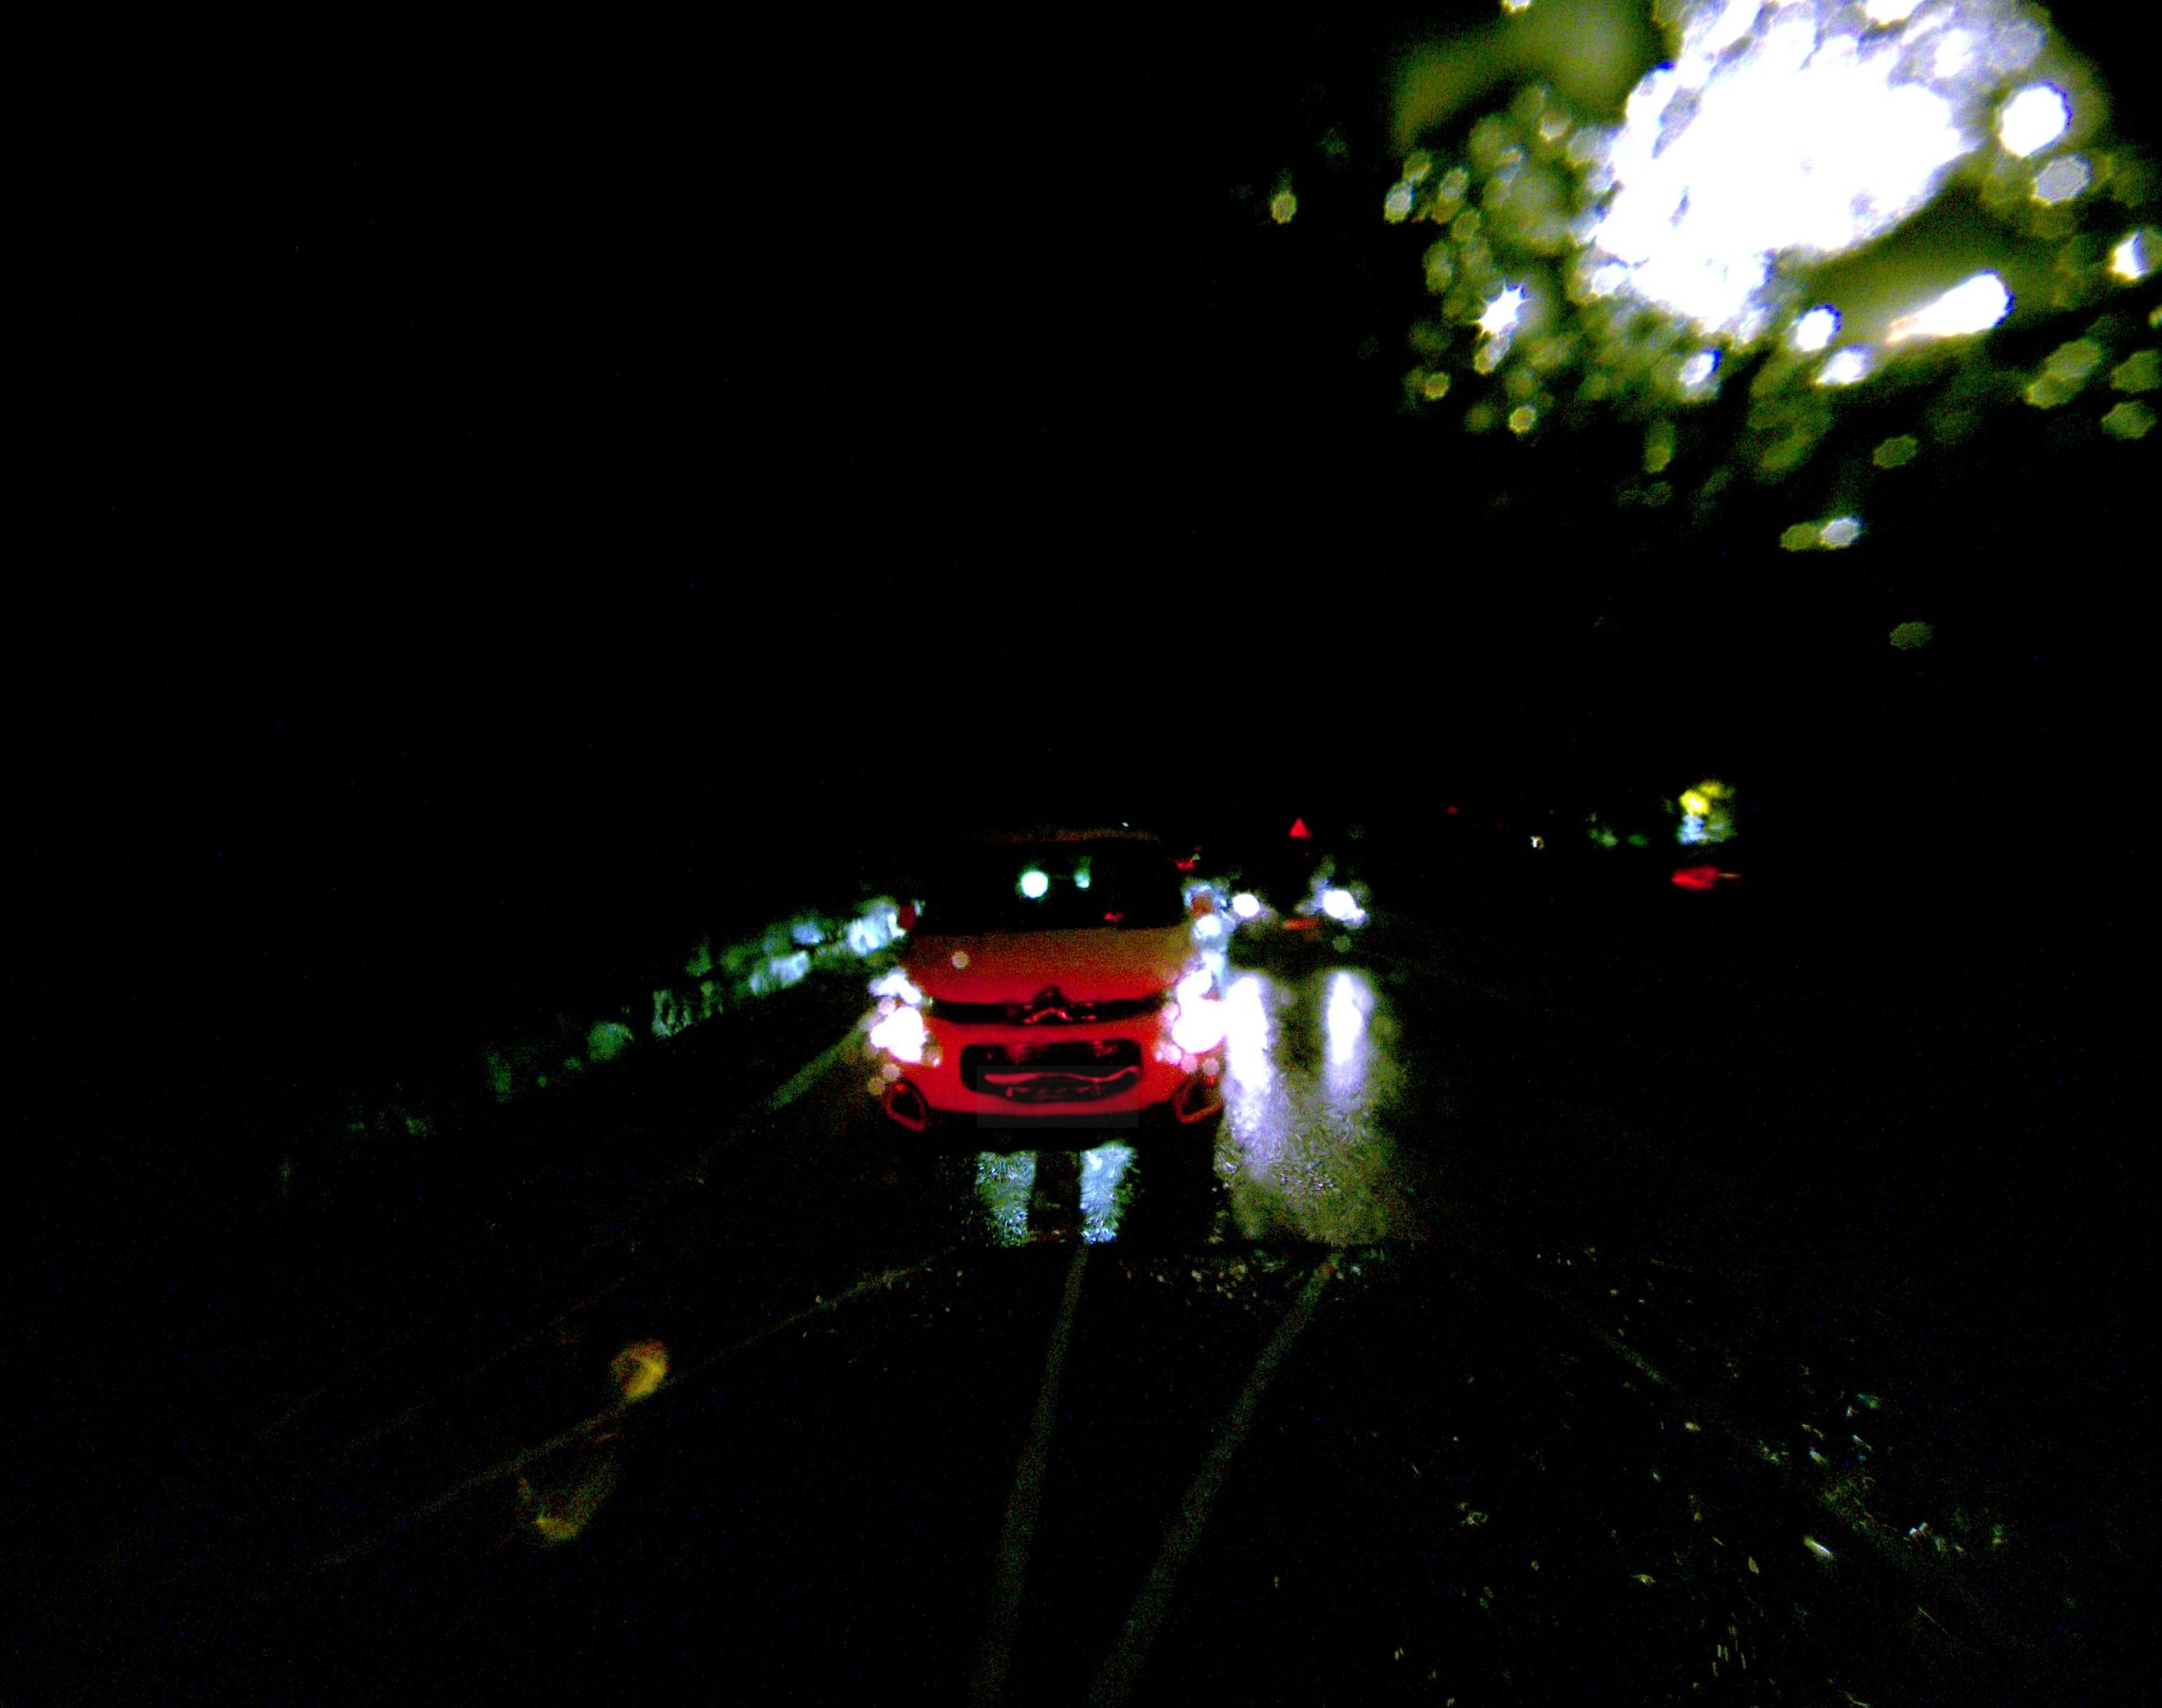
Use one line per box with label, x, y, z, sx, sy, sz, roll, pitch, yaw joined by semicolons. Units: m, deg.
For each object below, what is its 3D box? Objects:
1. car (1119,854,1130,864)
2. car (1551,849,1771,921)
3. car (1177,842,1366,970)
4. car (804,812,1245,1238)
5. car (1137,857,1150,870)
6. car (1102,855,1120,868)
car;9.030;0.986;156.458;1.998;2.002;4.002;-1;0;6
car;13.666;0.650;18.304;1.658;1.490;4.372;1;0;-5
car;2.900;0.698;12.763;1.914;1.694;4.938;-1;0;0
car;-0.125;0.743;5.392;1.877;1.825;4.206;-1;0;4
car;10.349;1.509;125.959;1.997;2.002;4.001;-1;1;7
car;3.662;0.861;92.244;1.998;1.456;4.000;-1;1;3
